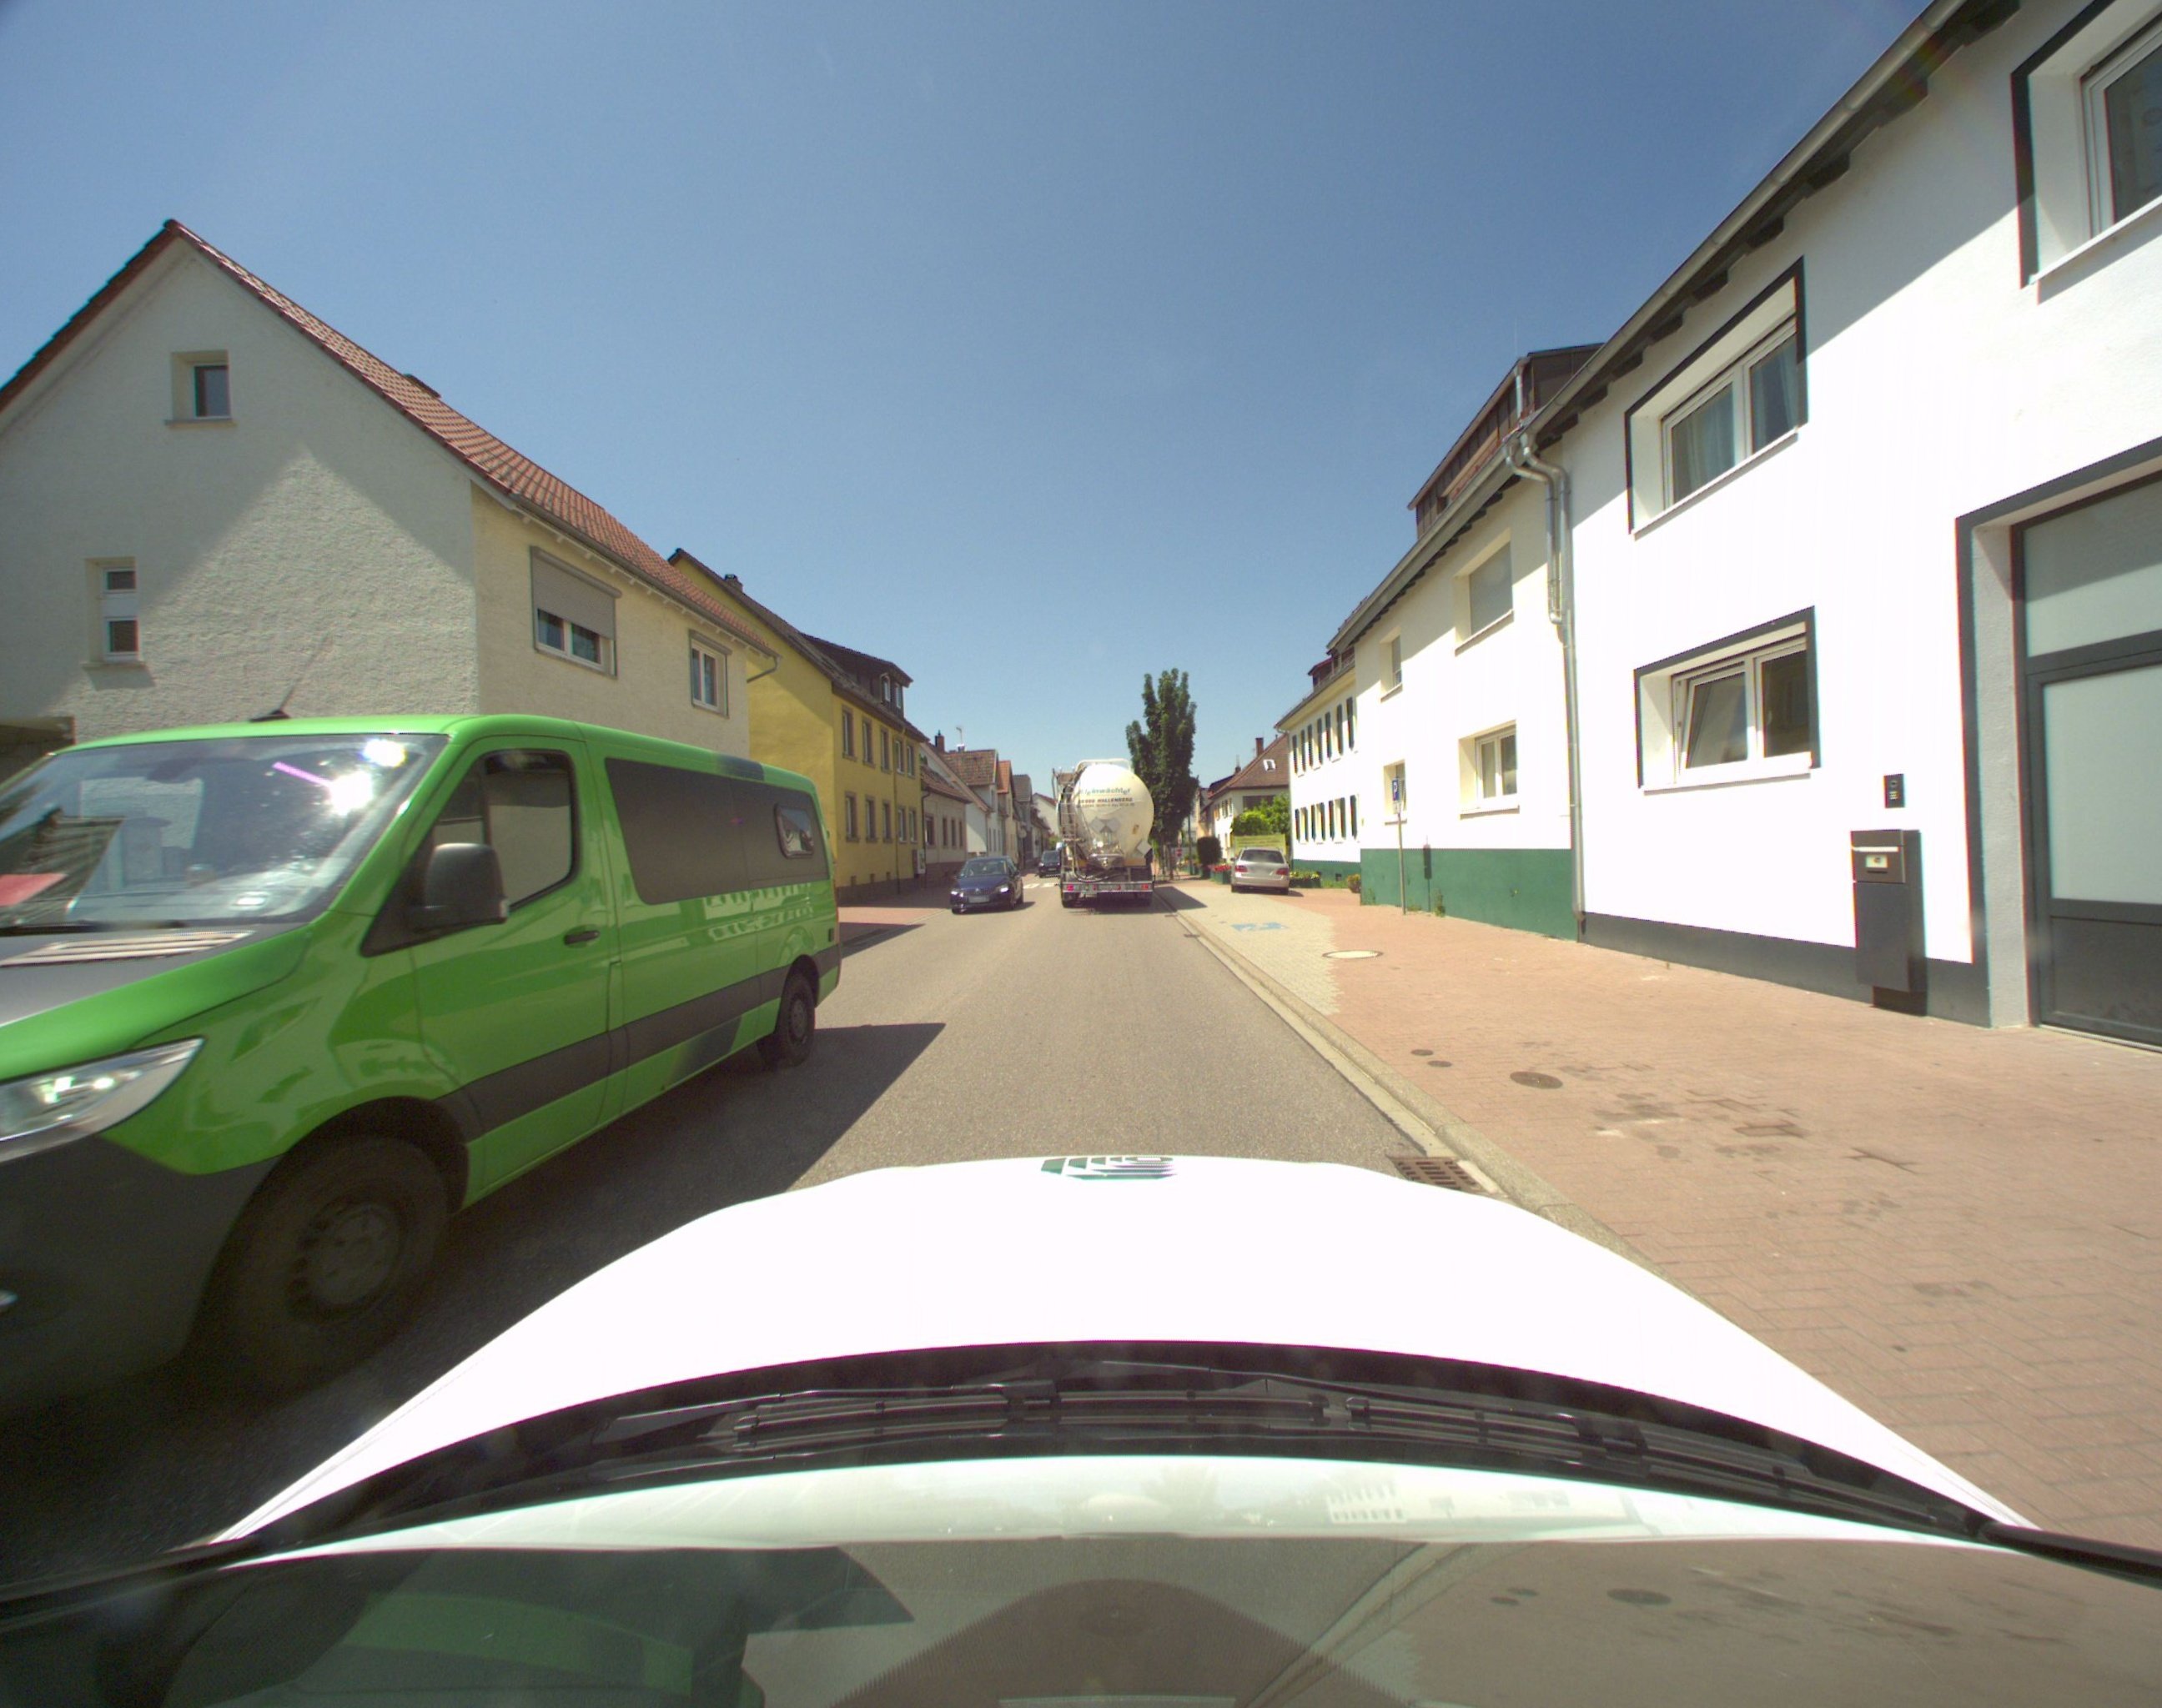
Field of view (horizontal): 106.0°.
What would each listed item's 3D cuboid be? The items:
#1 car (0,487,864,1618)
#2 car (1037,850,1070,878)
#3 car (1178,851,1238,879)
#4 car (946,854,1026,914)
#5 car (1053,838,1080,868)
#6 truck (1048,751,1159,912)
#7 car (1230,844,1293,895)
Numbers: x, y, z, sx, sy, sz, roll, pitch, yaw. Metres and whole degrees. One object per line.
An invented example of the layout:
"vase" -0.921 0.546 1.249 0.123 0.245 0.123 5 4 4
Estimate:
"car" -3.212 0.432 4.689 2.043 2.353 6.083 -3 0 1
"car" -1.767 0.608 53.379 1.833 1.669 4.325 -3 0 1
"car" 9.586 0.819 61.665 4.154 1.587 1.908 8 0 2
"car" -2.740 0.827 24.345 1.758 1.536 4.079 -3 0 1
"car" -1.236 -0.063 72.443 2.062 2.455 6.009 -3 0 1
"truck" 0.606 -0.527 24.176 2.723 3.960 8.141 -1 -1 1
"car" 5.900 0.449 27.037 1.804 1.462 4.899 2 1 10
